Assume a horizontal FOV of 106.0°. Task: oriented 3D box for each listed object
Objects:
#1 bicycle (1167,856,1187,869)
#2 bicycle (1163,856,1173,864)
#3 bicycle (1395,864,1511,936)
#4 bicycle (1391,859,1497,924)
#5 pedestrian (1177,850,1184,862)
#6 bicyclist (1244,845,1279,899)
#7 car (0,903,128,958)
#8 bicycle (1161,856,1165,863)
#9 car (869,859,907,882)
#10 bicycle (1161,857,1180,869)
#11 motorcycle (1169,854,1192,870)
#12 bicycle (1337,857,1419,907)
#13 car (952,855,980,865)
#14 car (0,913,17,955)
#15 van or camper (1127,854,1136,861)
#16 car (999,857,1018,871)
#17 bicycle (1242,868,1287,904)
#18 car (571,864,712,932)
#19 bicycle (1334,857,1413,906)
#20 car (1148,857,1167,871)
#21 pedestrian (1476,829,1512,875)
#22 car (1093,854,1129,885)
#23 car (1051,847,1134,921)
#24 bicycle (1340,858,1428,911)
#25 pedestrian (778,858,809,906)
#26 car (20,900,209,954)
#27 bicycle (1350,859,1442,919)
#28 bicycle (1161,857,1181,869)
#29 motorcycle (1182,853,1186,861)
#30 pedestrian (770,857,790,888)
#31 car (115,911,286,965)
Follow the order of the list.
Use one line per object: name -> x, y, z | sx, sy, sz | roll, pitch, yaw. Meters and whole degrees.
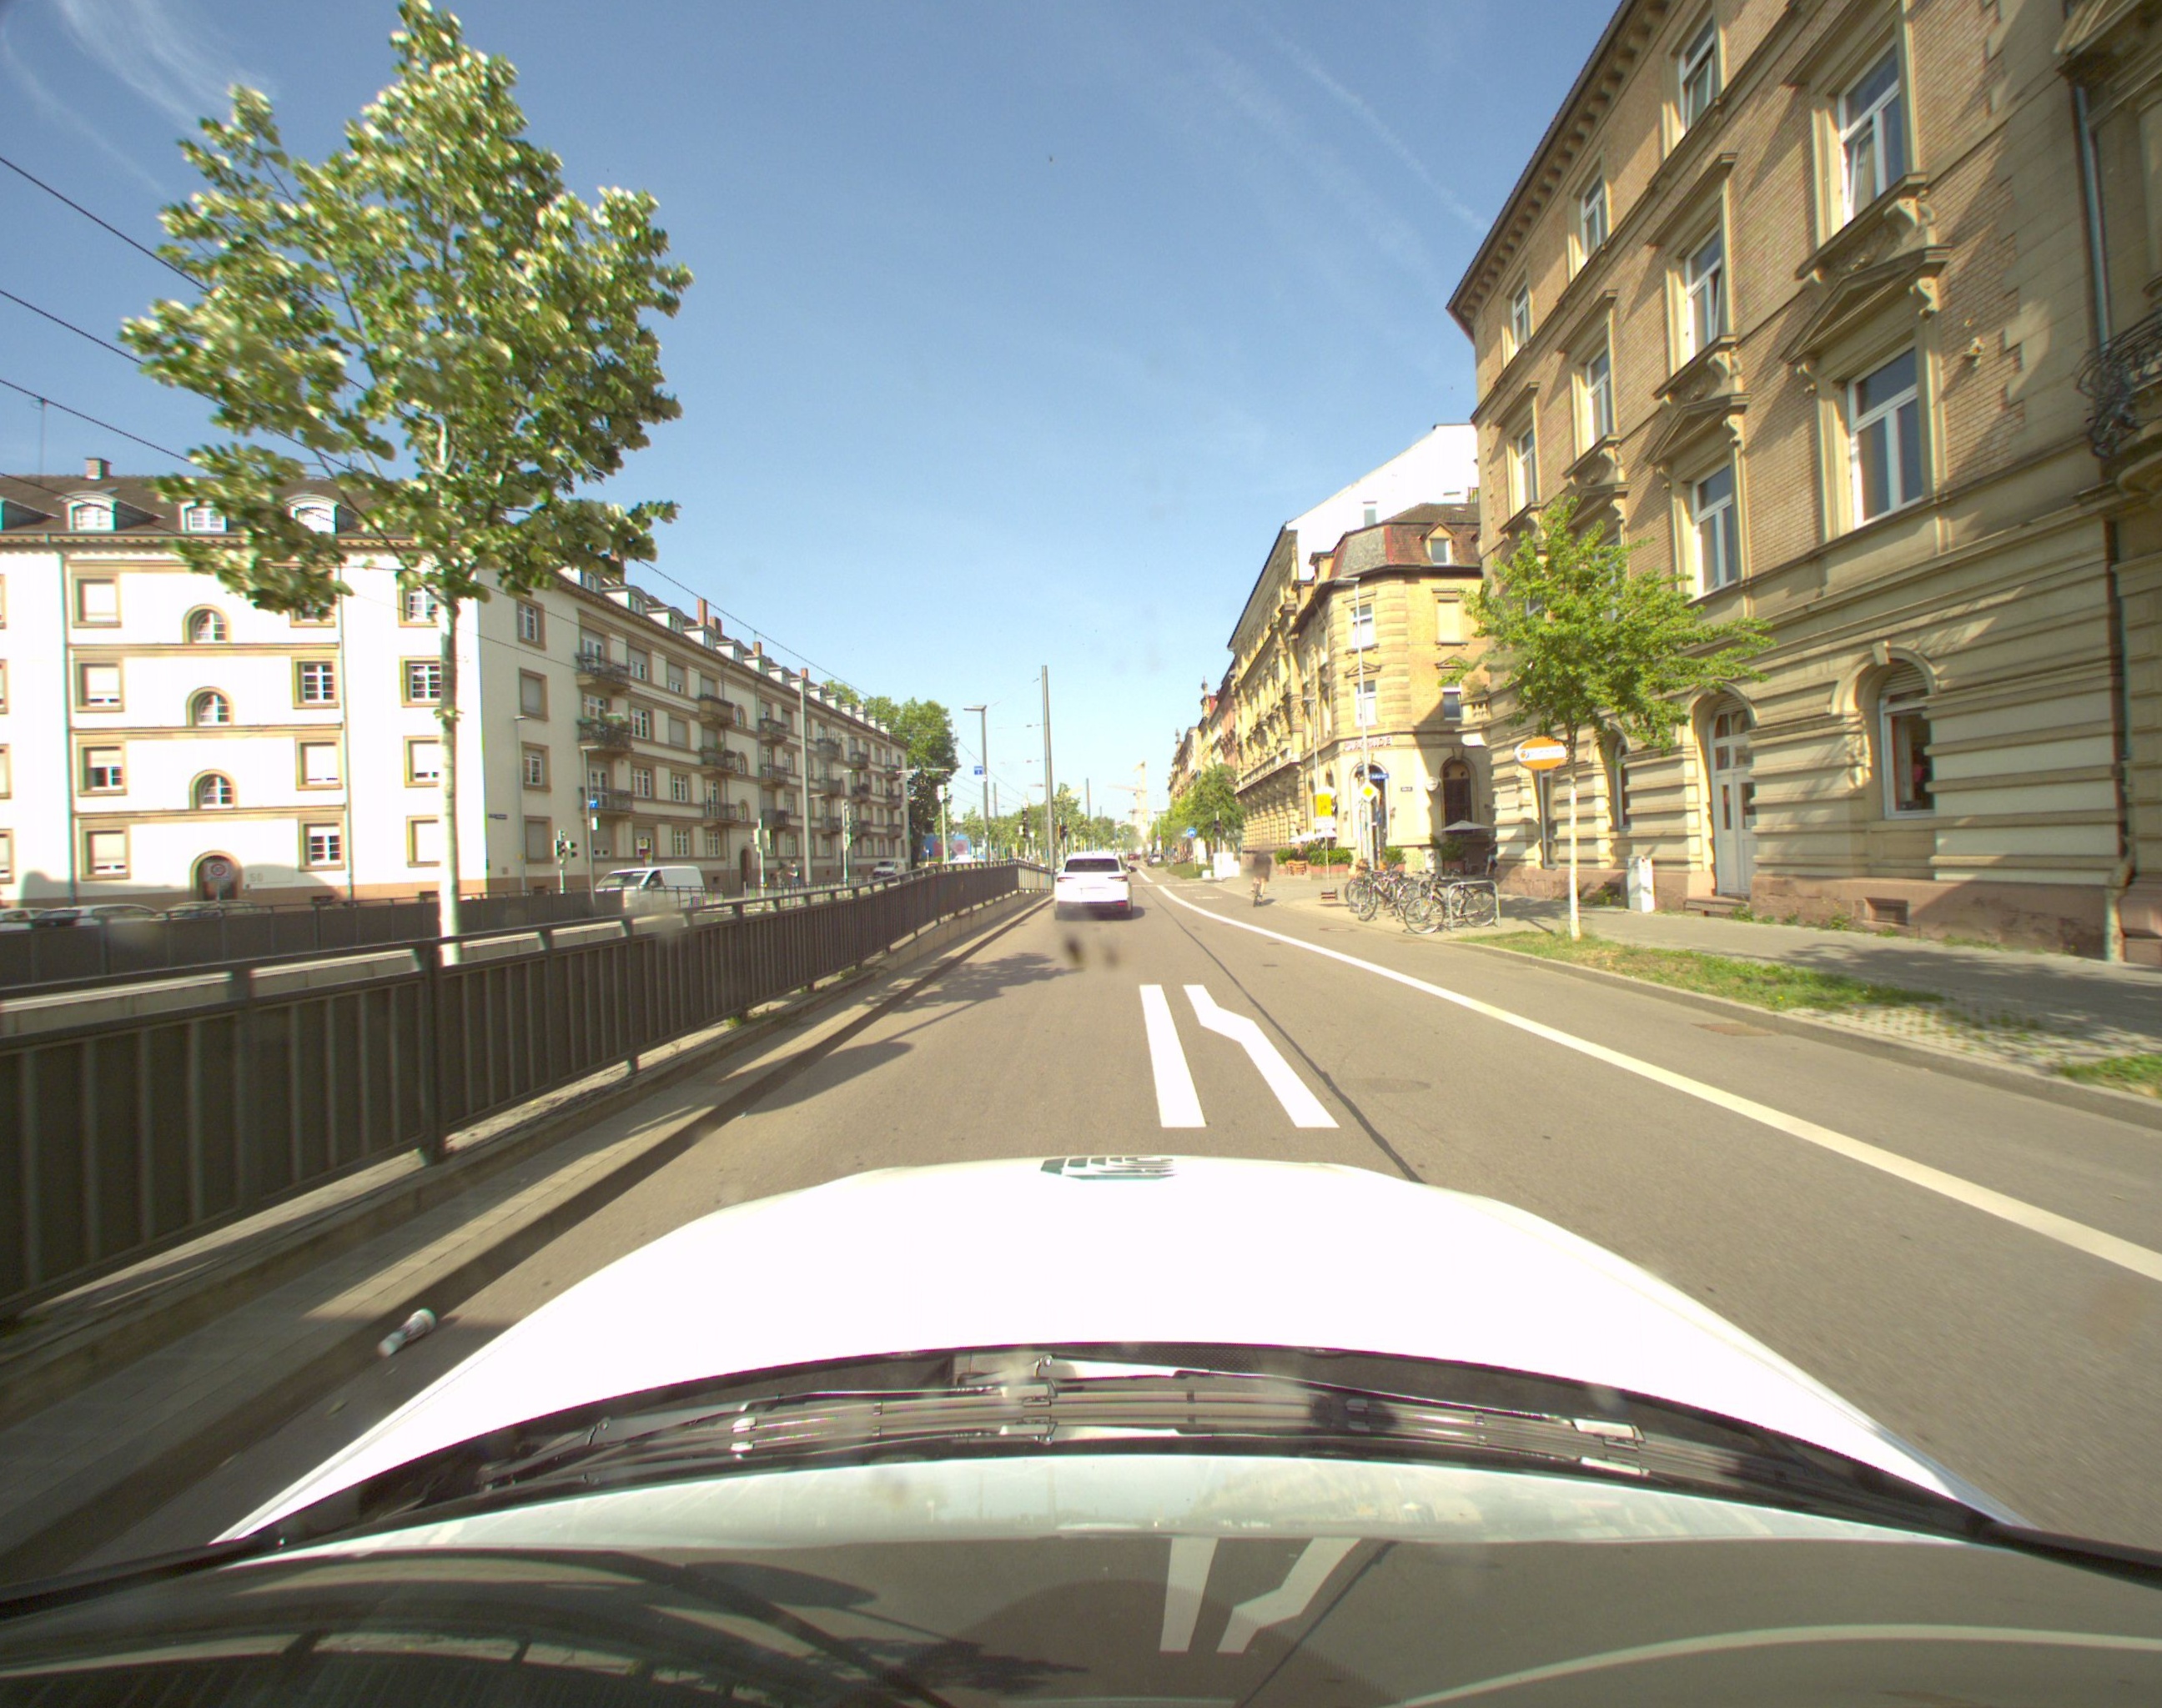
bicycle -> 9.211, 0.850, 78.205 | 1.802, 1.096, 0.671 | -4, 0, -3
bicycle -> 12.988, 0.928, 121.305 | 0.449, 1.082, 1.888 | -5, -3, 45
bicycle -> 6.678, 0.804, 14.656 | 1.754, 1.087, 0.609 | -6, 0, -7
bicycle -> 7.213, 0.731, 16.205 | 1.754, 1.087, 0.656 | -6, 0, -7
pedestrian -> 15.048, 0.332, 123.127 | 0.820, 1.696, 0.793 | -4, 0, -1
bicyclist -> 5.102, 0.518, 23.030 | 0.578, 1.482, 0.937 | -4, -2, 37
car -> -35.088, 2.568, 27.301 | 1.669, 1.532, 3.922 | -3, 0, -2
bicycle -> 12.283, 0.829, 122.220 | 0.490, 1.094, 1.828 | -2, 0, 3
car -> -17.685, 1.487, 74.780 | 1.985, 1.918, 5.158 | -1, 0, 4
bicycle -> 8.788, 0.865, 79.786 | 1.778, 1.054, 0.373 | -4, 0, 1
motorcycle -> 9.051, 0.750, 74.109 | 2.048, 1.287, 0.698 | -4, 1, -31
bicycle -> 7.354, 0.693, 20.226 | 1.743, 1.087, 0.584 | -5, 0, 6
car -> -29.623, 1.577, 210.583 | 6.893, 2.638, 2.499 | 0, -1, -18
car -> -37.510, 2.773, 26.110 | 1.669, 1.415, 3.922 | -3, 0, -2
van or camper -> 11.836, 0.827, 190.350 | 1.985, 1.655, 4.003 | -3, 0, 2
car -> -10.876, 1.500, 121.837 | 1.985, 1.895, 5.051 | -3, 0, 4
bicycle -> 5.223, 0.888, 23.112 | 0.500, 0.953, 1.796 | -4, -2, 37
car -> -15.056, 1.434, 28.305 | 1.986, 2.013, 4.934 | -3, 0, 2
bicycle -> 7.466, 0.699, 20.824 | 1.743, 1.087, 0.584 | -5, 0, 6
car -> 9.449, 1.190, 100.974 | 1.764, 1.588, 4.247 | -4, 0, 0
pedestrian -> 16.842, -0.080, 33.253 | 0.859, 1.806, 0.992 | -4, 1, -3
car -> 1.603, 0.772, 42.597 | 1.746, 1.484, 4.410 | -2, 0, 3
car -> 0.381, 0.677, 20.350 | 1.809, 1.590, 4.410 | -2, 0, 3
bicycle -> 7.035, 0.703, 18.982 | 1.745, 1.087, 0.670 | -5, 0, 8
pedestrian -> -11.634, 1.120, 32.925 | 1.073, 1.867, 0.857 | -2, -1, -25
car -> -32.513, 2.401, 27.602 | 1.669, 1.405, 3.996 | -3, 0, -2
bicycle -> 6.774, 0.740, 17.519 | 1.762, 1.087, 0.668 | -6, 0, -20
bicycle -> 8.765, 0.861, 79.441 | 1.778, 1.054, 0.373 | -4, 0, 1
motorcycle -> 16.836, 0.453, 132.623 | 0.461, 1.175, 1.947 | -4, -1, 4
pedestrian -> -20.741, 1.281, 56.172 | 0.838, 2.068, 1.158 | -1, 0, 4
car -> -29.818, 2.795, 27.767 | 1.577, 1.354, 3.995 | -2, 0, -4
